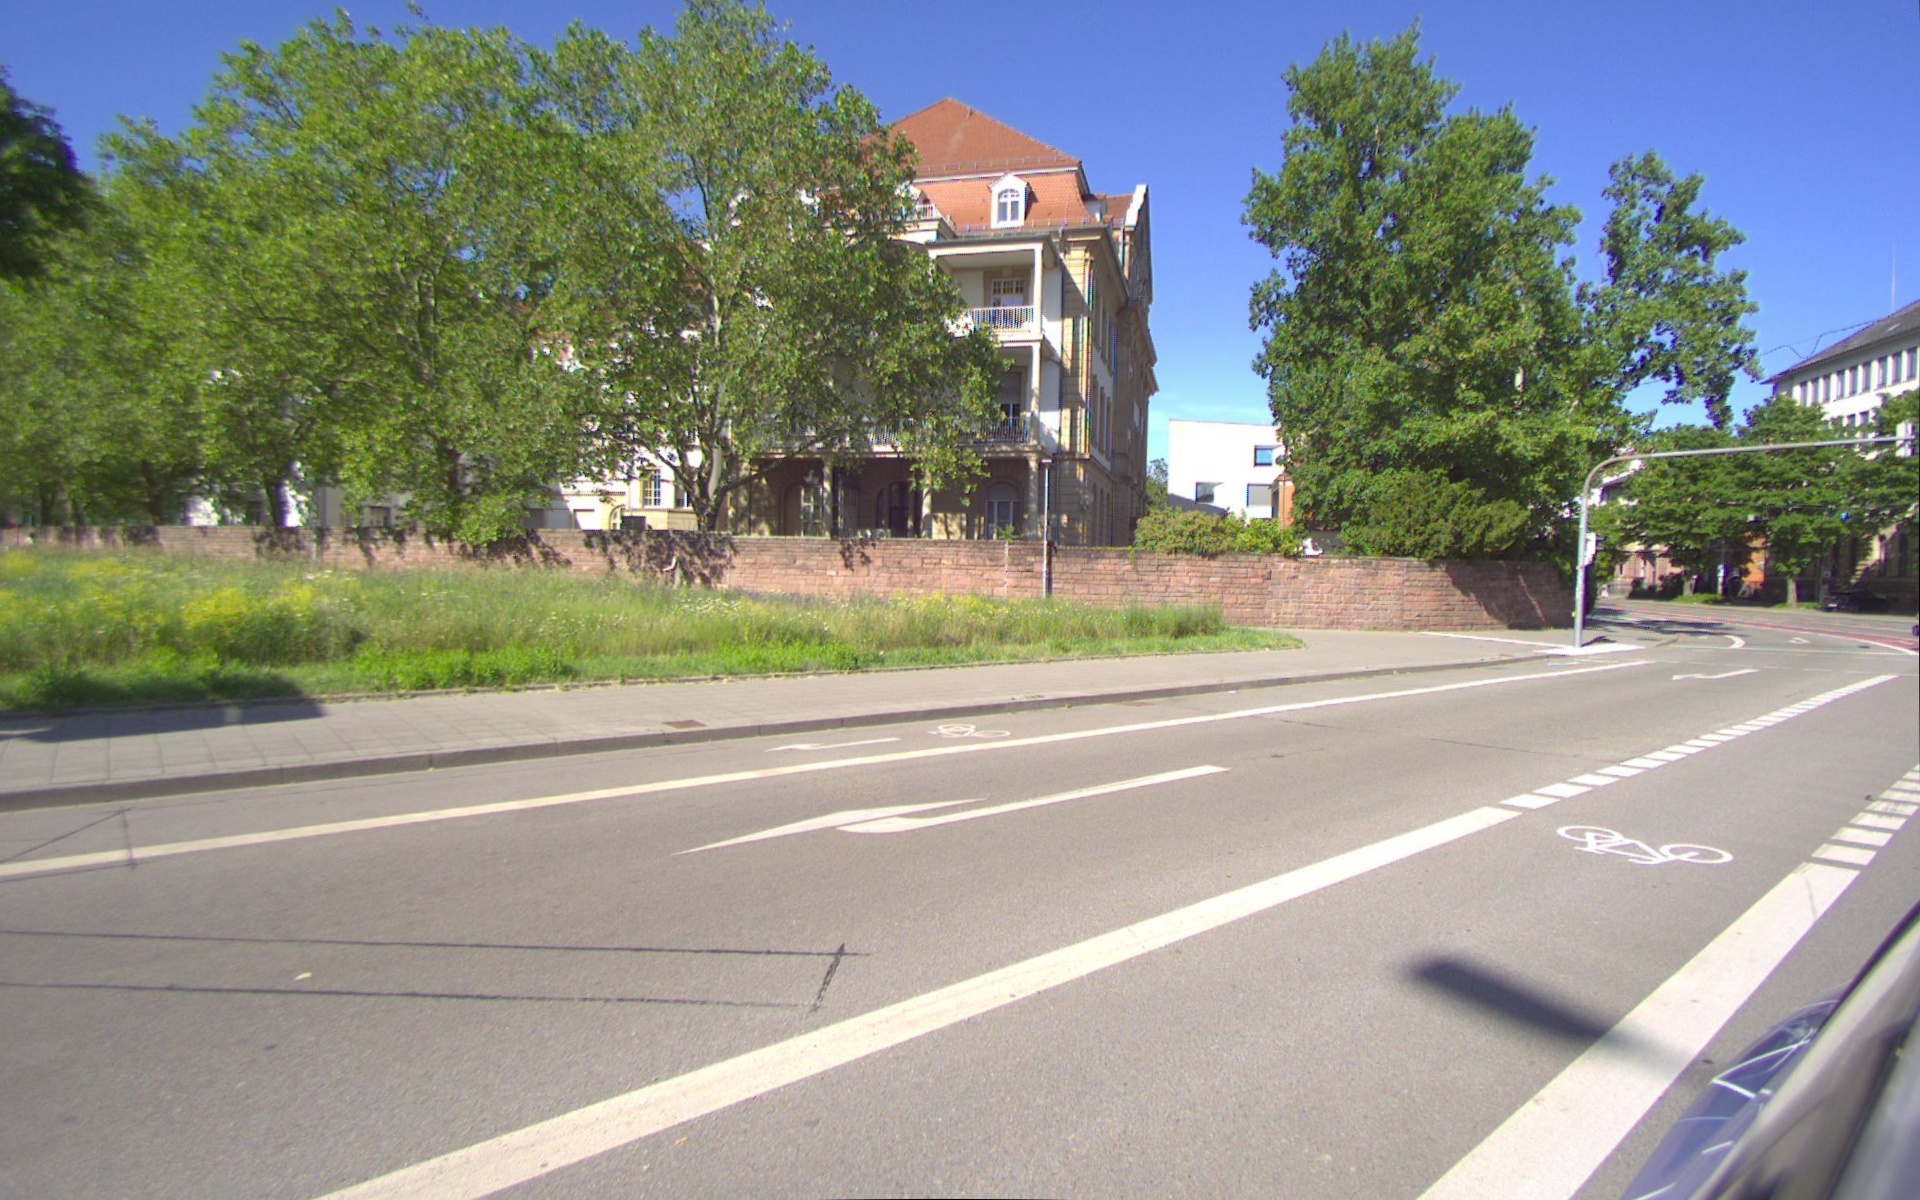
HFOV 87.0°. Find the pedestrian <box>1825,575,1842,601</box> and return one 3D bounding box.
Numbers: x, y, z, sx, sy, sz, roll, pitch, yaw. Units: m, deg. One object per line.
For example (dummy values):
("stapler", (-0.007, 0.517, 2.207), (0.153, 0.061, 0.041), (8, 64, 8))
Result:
("pedestrian", (64.630, -0.909, 74.865), (0.568, 1.927, 0.781), (1, 1, 12))

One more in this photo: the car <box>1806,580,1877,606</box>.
("car", (60.133, -0.523, 69.118), (1.806, 1.615, 3.988), (2, 2, 11))

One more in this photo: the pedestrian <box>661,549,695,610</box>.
("pedestrian", (-8.804, -0.655, 31.600), (0.777, 1.881, 0.627), (2, 1, 17))
